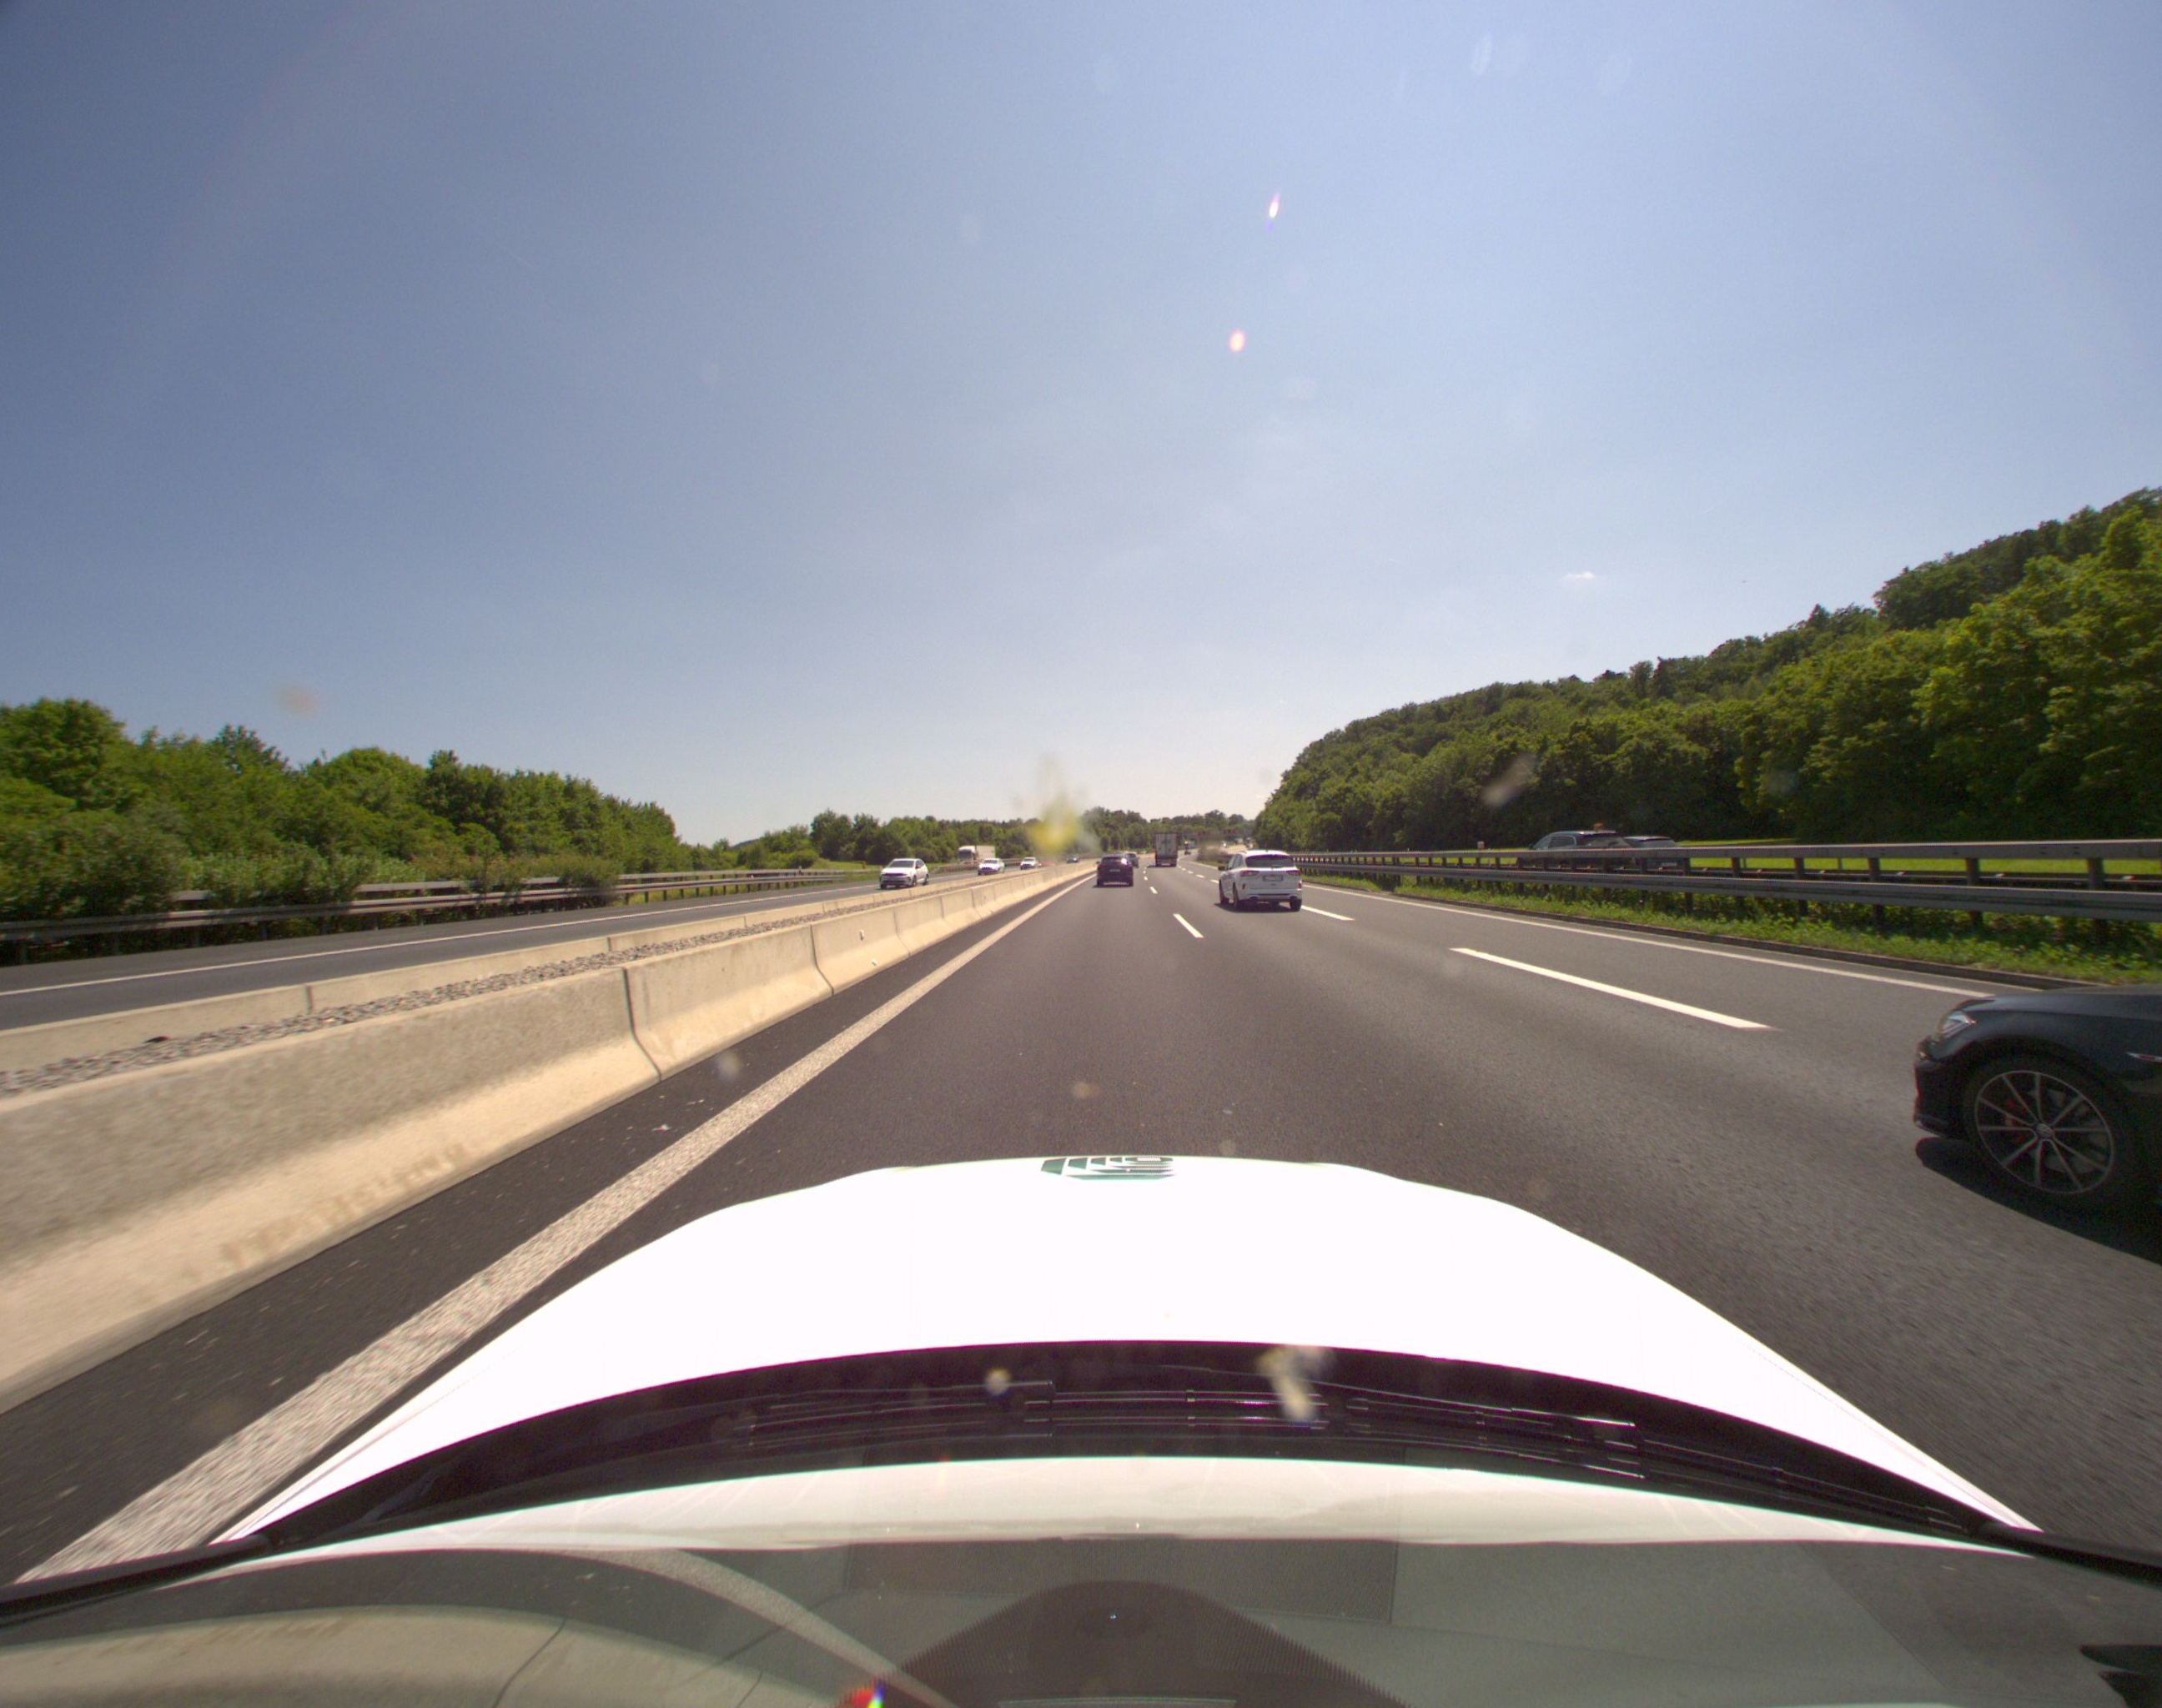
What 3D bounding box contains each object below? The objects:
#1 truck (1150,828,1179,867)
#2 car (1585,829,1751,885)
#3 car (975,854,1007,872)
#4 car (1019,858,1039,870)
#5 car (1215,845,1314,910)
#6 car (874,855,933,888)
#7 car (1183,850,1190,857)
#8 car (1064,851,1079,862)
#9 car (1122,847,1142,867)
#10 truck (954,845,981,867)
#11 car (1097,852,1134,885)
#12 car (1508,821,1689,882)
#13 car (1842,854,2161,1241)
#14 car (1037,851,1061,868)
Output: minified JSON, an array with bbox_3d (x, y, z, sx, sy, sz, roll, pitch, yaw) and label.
[{"bbox_3d":[10.028,-0.687,98.818,3.018,4.418,12.033,-1,-1,4],"label":"truck"},{"bbox_3d":[19.360,0.111,27.254,1.985,1.662,5.232,-1,-1,3],"label":"car"},{"bbox_3d":[-8.064,0.796,73.571,1.985,1.543,5.045,-1,-1,3],"label":"car"},{"bbox_3d":[-6.175,1.210,97.704,1.842,1.395,4.005,0,0,4],"label":"car"},{"bbox_3d":[5.208,0.649,23.762,1.986,1.662,4.469,-1,-1,2],"label":"car"},{"bbox_3d":[-9.632,0.918,44.637,1.860,1.666,4.669,-1,-1,4],"label":"car"},{"bbox_3d":[32.373,-0.165,249.865,1.982,2.014,4.010,-1,-1,9],"label":"car"},{"bbox_3d":[-1.652,0.498,141.200,1.984,1.824,4.911,-1,-1,5],"label":"car"},{"bbox_3d":[5.682,0.296,91.629,1.986,2.013,4.002,-4,0,2],"label":"car"},{"bbox_3d":[-18.534,0.365,133.789,3.067,3.503,5.419,-1,-1,6],"label":"truck"},{"bbox_3d":[1.696,0.709,41.044,1.773,1.577,4.001,-1,-1,1],"label":"car"},{"bbox_3d":[15.801,-0.044,25.360,1.988,1.662,5.623,-1,-1,-1],"label":"car"},{"bbox_3d":[4.967,0.720,2.376,1.788,1.435,3.966,-1,-1,0],"label":"car"},{"bbox_3d":[-3.387,0.608,86.062,1.985,1.659,4.639,-1,-1,4],"label":"car"}]
